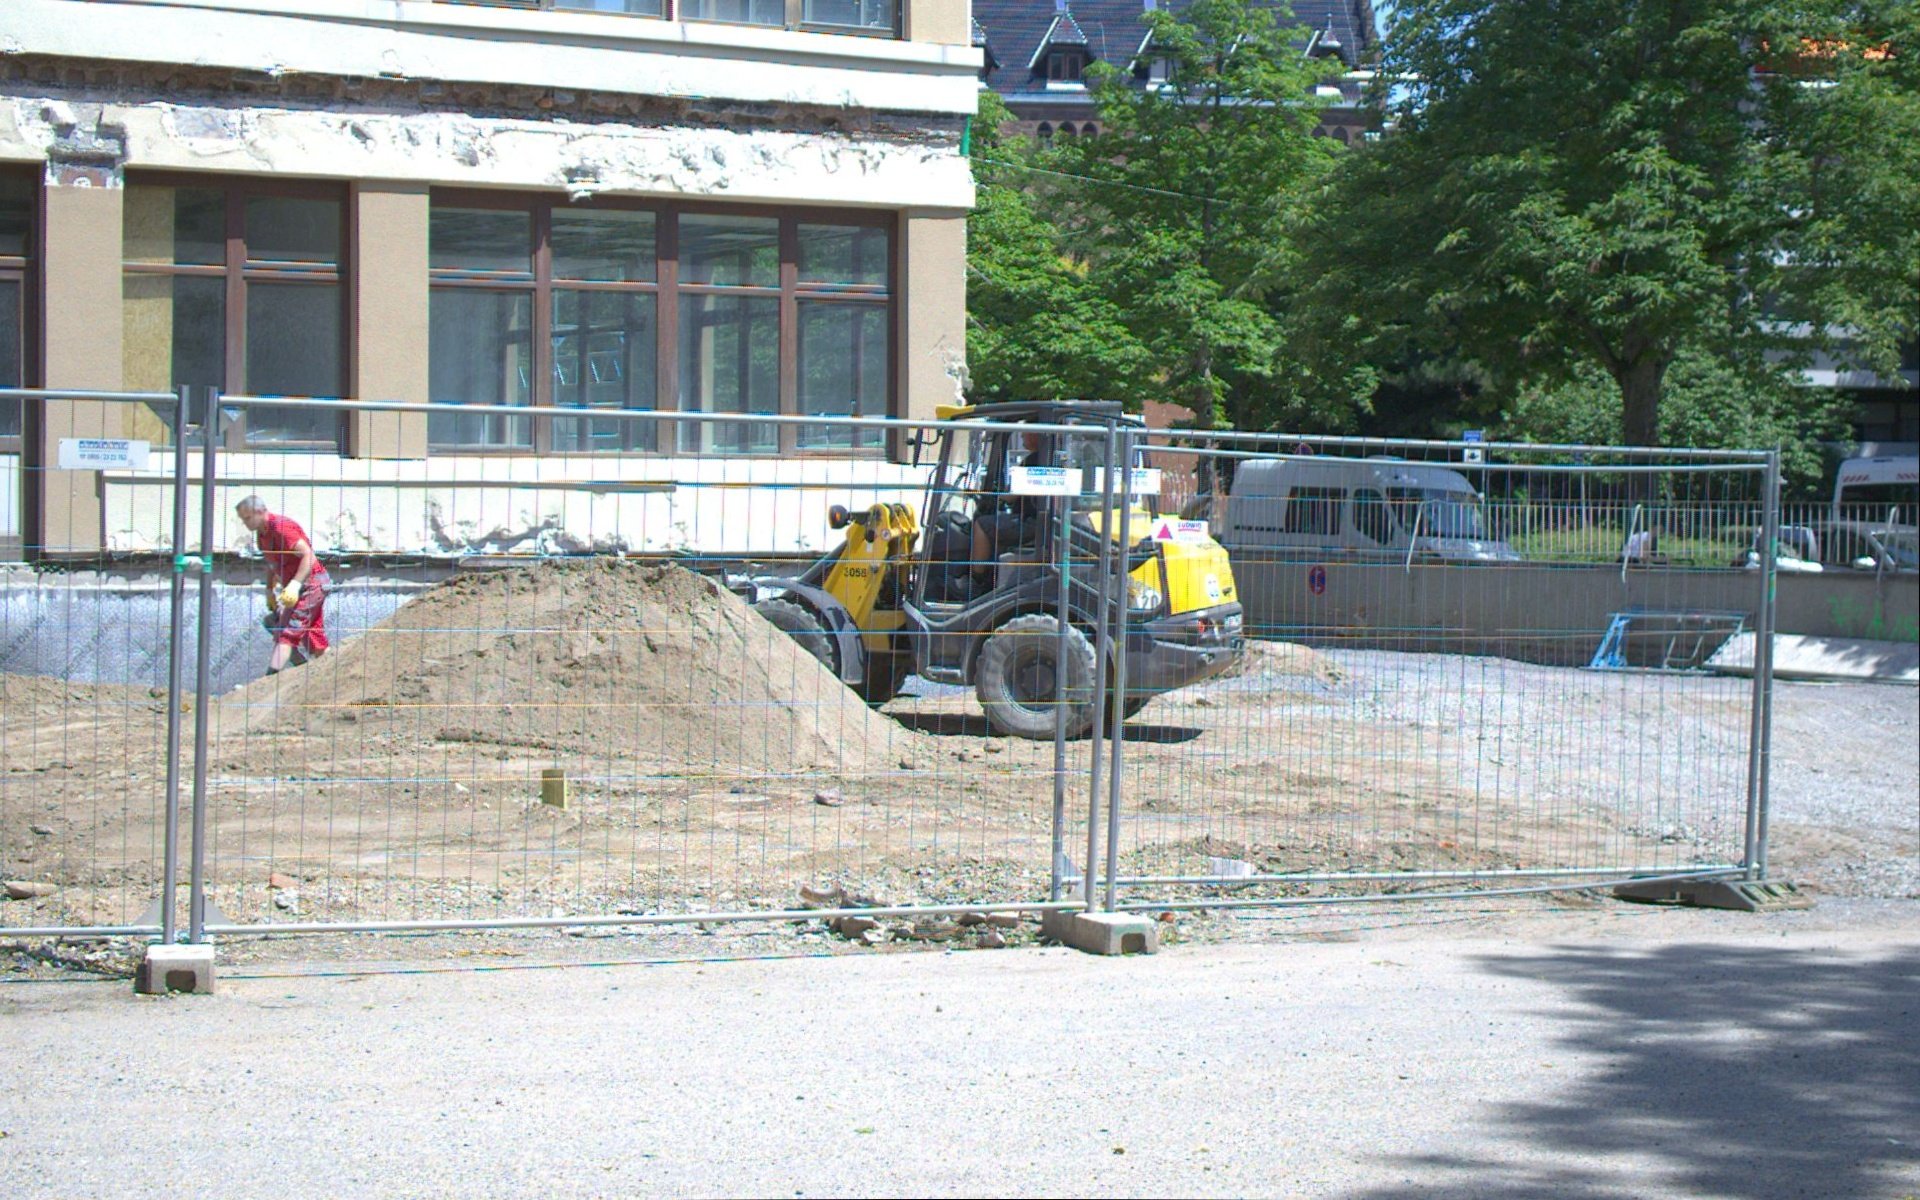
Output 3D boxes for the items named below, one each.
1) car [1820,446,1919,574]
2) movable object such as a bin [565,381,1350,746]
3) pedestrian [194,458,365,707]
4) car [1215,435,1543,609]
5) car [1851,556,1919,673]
[{"bbox_3d":[17.056,-1.625,62.683,2.186,2.250,4.864,1,1,20],"label":"car"},{"bbox_3d":[-0.011,-0.341,26.119,5.409,2.455,2.365,3,2,21],"label":"movable object such as a bin"},{"bbox_3d":[-5.162,-0.141,26.080,0.983,1.840,0.917,-1,1,-35],"label":"pedestrian"},{"bbox_3d":[6.061,-1.139,50.455,1.993,2.408,5.243,0,1,-31],"label":"car"},{"bbox_3d":[12.336,0.153,40.085,3.713,1.316,1.614,-1,1,-31],"label":"car"}]
